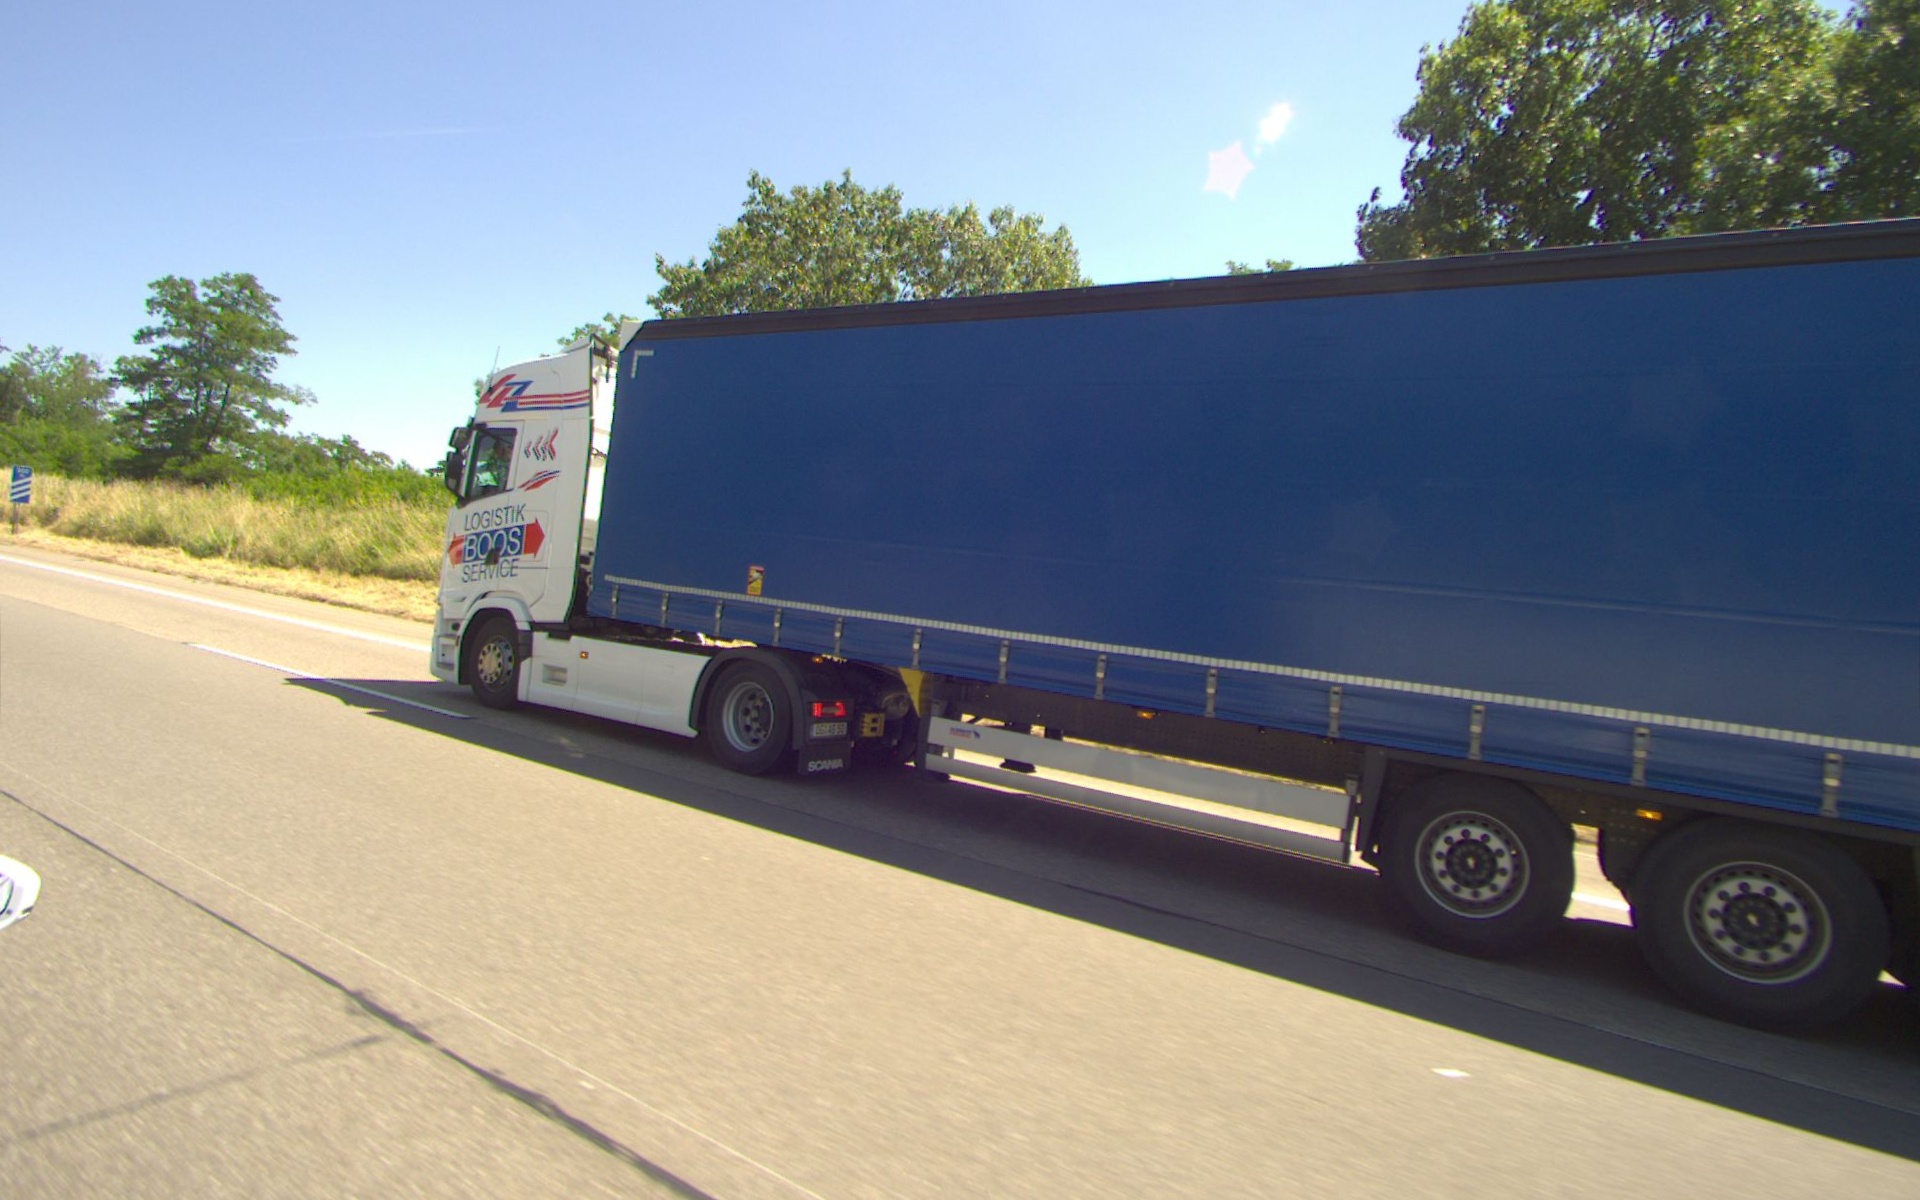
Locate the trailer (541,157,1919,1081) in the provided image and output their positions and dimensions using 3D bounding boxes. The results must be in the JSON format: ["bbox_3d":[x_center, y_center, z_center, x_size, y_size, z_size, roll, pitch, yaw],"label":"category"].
[{"bbox_3d":[2.699,-0.083,7.646,13.340,4.268,3.292,6,-2,32],"label":"trailer"}]

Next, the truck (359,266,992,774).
[{"bbox_3d":[-3.237,-0.780,11.336,5.908,4.268,3.292,6,-2,31],"label":"truck"}]
